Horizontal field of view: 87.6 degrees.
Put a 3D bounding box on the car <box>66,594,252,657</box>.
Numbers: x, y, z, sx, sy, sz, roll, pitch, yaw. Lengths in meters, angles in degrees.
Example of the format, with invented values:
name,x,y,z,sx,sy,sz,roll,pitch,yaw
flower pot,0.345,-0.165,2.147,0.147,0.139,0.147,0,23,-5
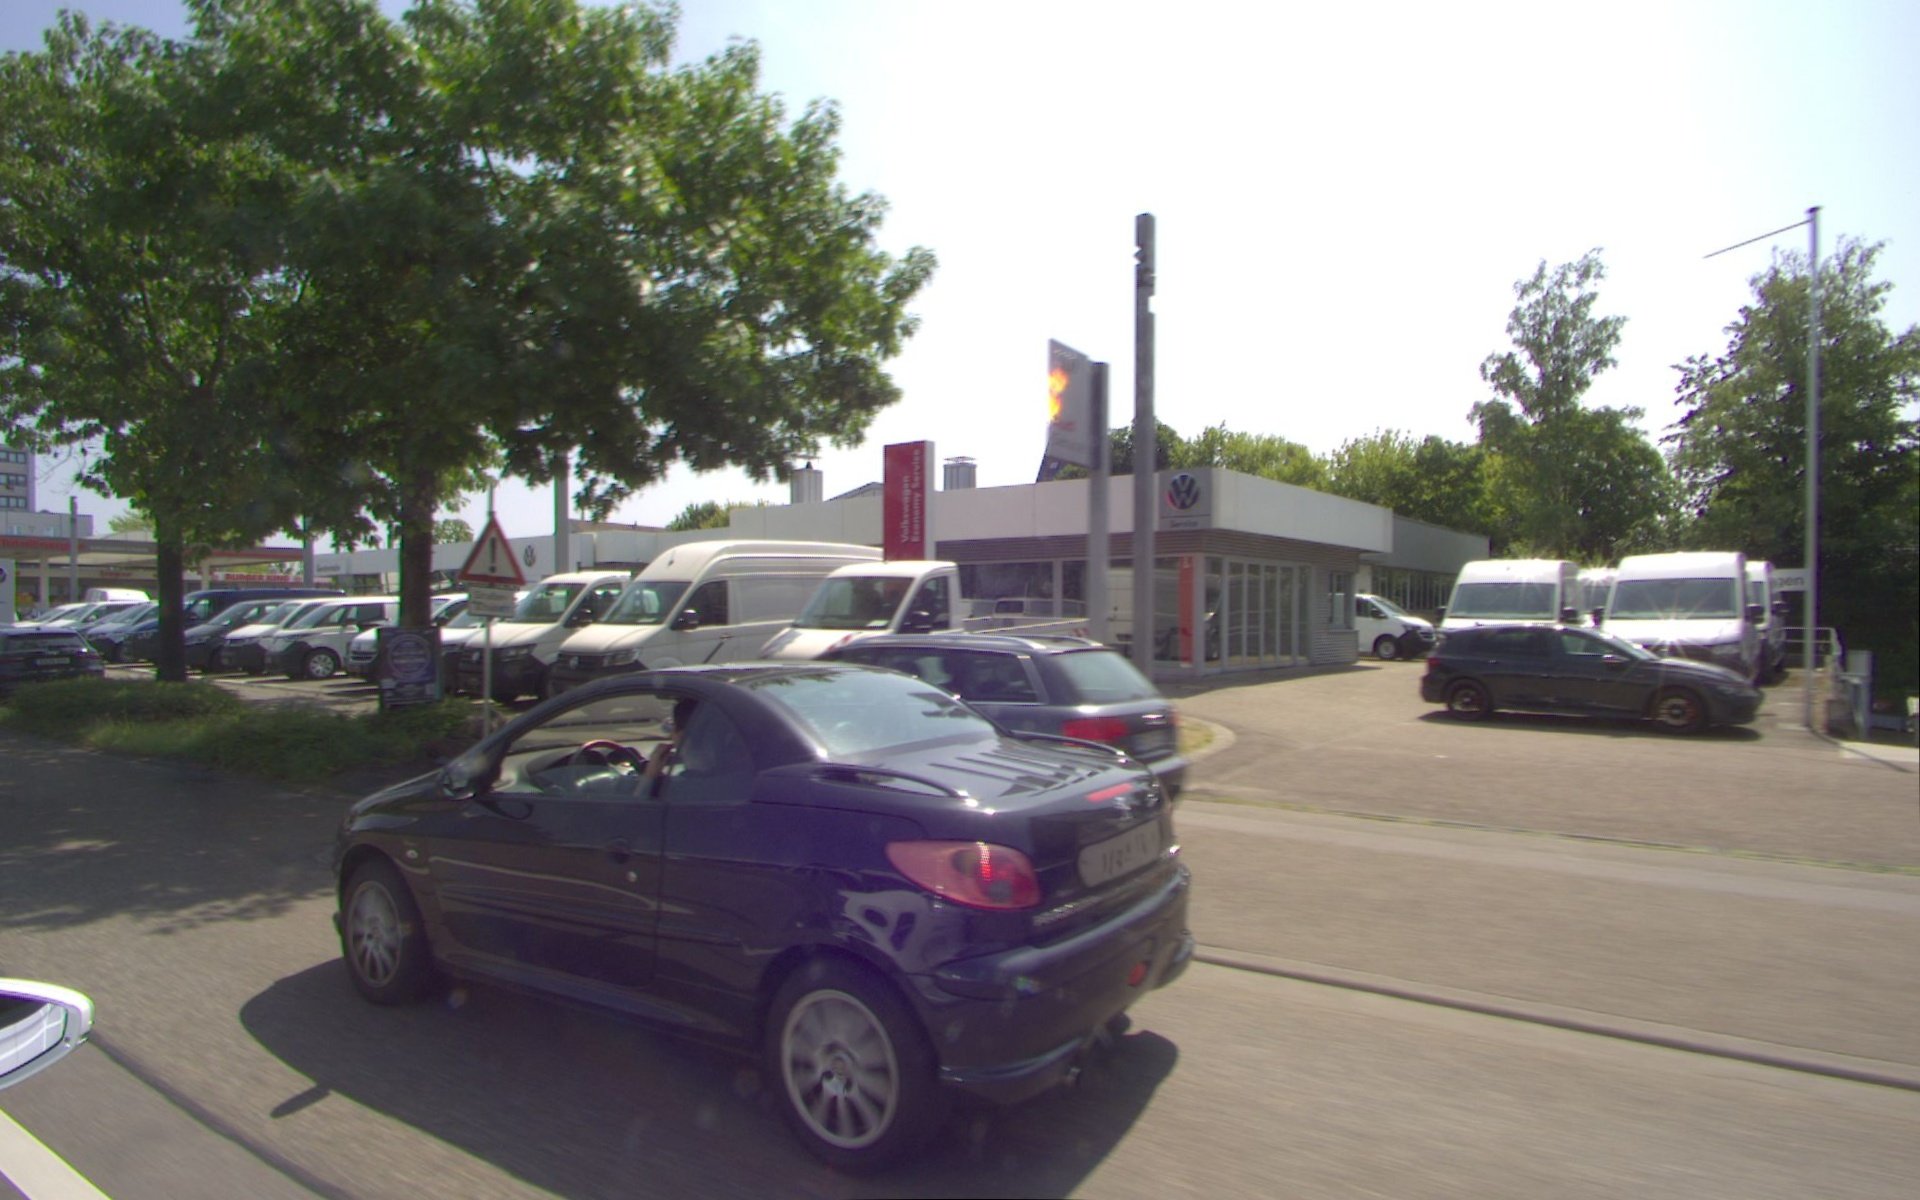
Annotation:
name,x,y,z,sx,sy,sz,roll,pitch,yaw
car,-28.156,0.901,35.331,1.978,2.010,4.771,3,0,37

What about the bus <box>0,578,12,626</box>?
name,x,y,z,sx,sy,sz,roll,pitch,yaw
bus,-68.037,0.011,69.014,12.139,3.119,2.791,1,0,41

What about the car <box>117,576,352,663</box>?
name,x,y,z,sx,sy,sz,roll,pitch,yaw
car,-23.296,0.704,32.409,2.178,2.555,5.820,-2,-3,39

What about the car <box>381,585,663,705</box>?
name,x,y,z,sx,sy,sz,roll,pitch,yaw
car,-8.780,0.821,20.524,2.130,2.141,4.933,0,0,36

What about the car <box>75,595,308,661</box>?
name,x,y,z,sx,sy,sz,roll,pitch,yaw
car,-25.755,0.972,33.796,2.231,2.039,5.872,-1,-2,39

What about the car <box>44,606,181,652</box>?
name,x,y,z,sx,sy,sz,roll,pitch,yaw
car,-30.658,1.062,36.286,1.697,1.590,3.612,0,-2,42

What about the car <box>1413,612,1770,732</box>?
name,x,y,z,sx,sy,sz,roll,pitch,yaw
car,9.230,1.029,14.835,4.267,1.527,1.823,-3,-3,40

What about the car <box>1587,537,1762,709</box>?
name,x,y,z,sx,sy,sz,roll,pitch,yaw
car,12.872,0.466,17.844,2.095,2.560,5.862,-2,-3,39

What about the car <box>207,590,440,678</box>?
name,x,y,z,sx,sy,sz,roll,pitch,yaw
car,-17.459,0.847,27.736,2.013,2.125,5.046,0,1,36

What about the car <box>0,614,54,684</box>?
name,x,y,z,sx,sy,sz,roll,pitch,yaw
car,-24.037,1.162,24.418,5.094,1.551,1.953,0,2,37

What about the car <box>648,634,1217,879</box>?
name,x,y,z,sx,sy,sz,roll,pitch,yaw
car,-0.357,0.994,7.862,4.263,1.424,1.793,-1,-2,36

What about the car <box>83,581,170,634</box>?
name,x,y,z,sx,sy,sz,roll,pitch,yaw
car,-45.966,0.386,55.158,6.928,2.711,2.247,0,1,38

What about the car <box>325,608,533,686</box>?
name,x,y,z,sx,sy,sz,roll,pitch,yaw
car,-12.640,1.052,24.107,1.885,1.491,4.015,1,3,30

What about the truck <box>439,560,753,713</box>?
name,x,y,z,sx,sy,sz,roll,pitch,yaw
truck,-6.610,0.564,18.800,2.085,2.468,5.225,0,1,38

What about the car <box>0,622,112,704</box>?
name,x,y,z,sx,sy,sz,roll,pitch,yaw
car,-18.944,1.190,20.190,4.378,1.454,1.677,-1,0,34

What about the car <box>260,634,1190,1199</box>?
name,x,y,z,sx,sy,sz,roll,pitch,yaw
car,-1.078,0.902,4.080,3.608,1.442,1.598,0,-3,32

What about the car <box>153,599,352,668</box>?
name,x,y,z,sx,sy,sz,roll,pitch,yaw
car,-21.417,0.937,30.487,1.926,1.876,4.552,1,1,36

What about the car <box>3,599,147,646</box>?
name,x,y,z,sx,sy,sz,roll,pitch,yaw
car,-36.616,0.901,41.514,1.857,1.804,4.136,-2,-1,36

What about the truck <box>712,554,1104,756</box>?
name,x,y,z,sx,sy,sz,roll,pitch,yaw
truck,-0.440,0.615,14.881,2.338,2.368,6.220,1,1,38

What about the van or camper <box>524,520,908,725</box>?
name,x,y,z,sx,sy,sz,roll,pitch,yaw
van or camper,-3.922,0.336,17.720,2.245,2.936,6.774,0,0,36

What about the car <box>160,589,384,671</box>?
name,x,y,z,sx,sy,sz,roll,pitch,yaw
car,-19.650,0.762,28.837,2.101,2.143,4.882,1,1,36

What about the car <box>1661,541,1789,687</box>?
name,x,y,z,sx,sy,sz,roll,pitch,yaw
car,17.227,0.404,22.541,1.976,2.844,6.094,-2,-3,38

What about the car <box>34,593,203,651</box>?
name,x,y,z,sx,sy,sz,roll,pitch,yaw
car,-32.282,0.780,38.534,1.933,2.041,4.625,1,2,35

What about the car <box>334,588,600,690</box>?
name,x,y,z,sx,sy,sz,roll,pitch,yaw
car,-10.792,0.756,22.288,2.114,1.997,4.895,0,0,37

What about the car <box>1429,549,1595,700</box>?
name,x,y,z,sx,sy,sz,roll,pitch,yaw
car,11.010,0.536,19.776,2.013,2.568,5.263,-2,-3,38

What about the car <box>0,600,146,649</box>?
name,x,y,z,sx,sy,sz,roll,pitch,yaw
car,-36.909,0.968,41.528,1.833,1.913,4.541,-2,-1,35

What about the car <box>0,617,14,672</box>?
name,x,y,z,sx,sy,sz,roll,pitch,yaw
car,-28.617,1.218,28.189,5.085,1.500,1.850,0,-1,34

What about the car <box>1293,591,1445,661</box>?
name,x,y,z,sx,sy,sz,roll,pitch,yaw
car,12.381,0.838,30.369,3.946,1.994,1.943,-2,-3,34

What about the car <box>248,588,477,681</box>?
name,x,y,z,sx,sy,sz,roll,pitch,yaw
car,-15.202,0.800,25.696,2.171,2.041,4.490,-2,1,38
